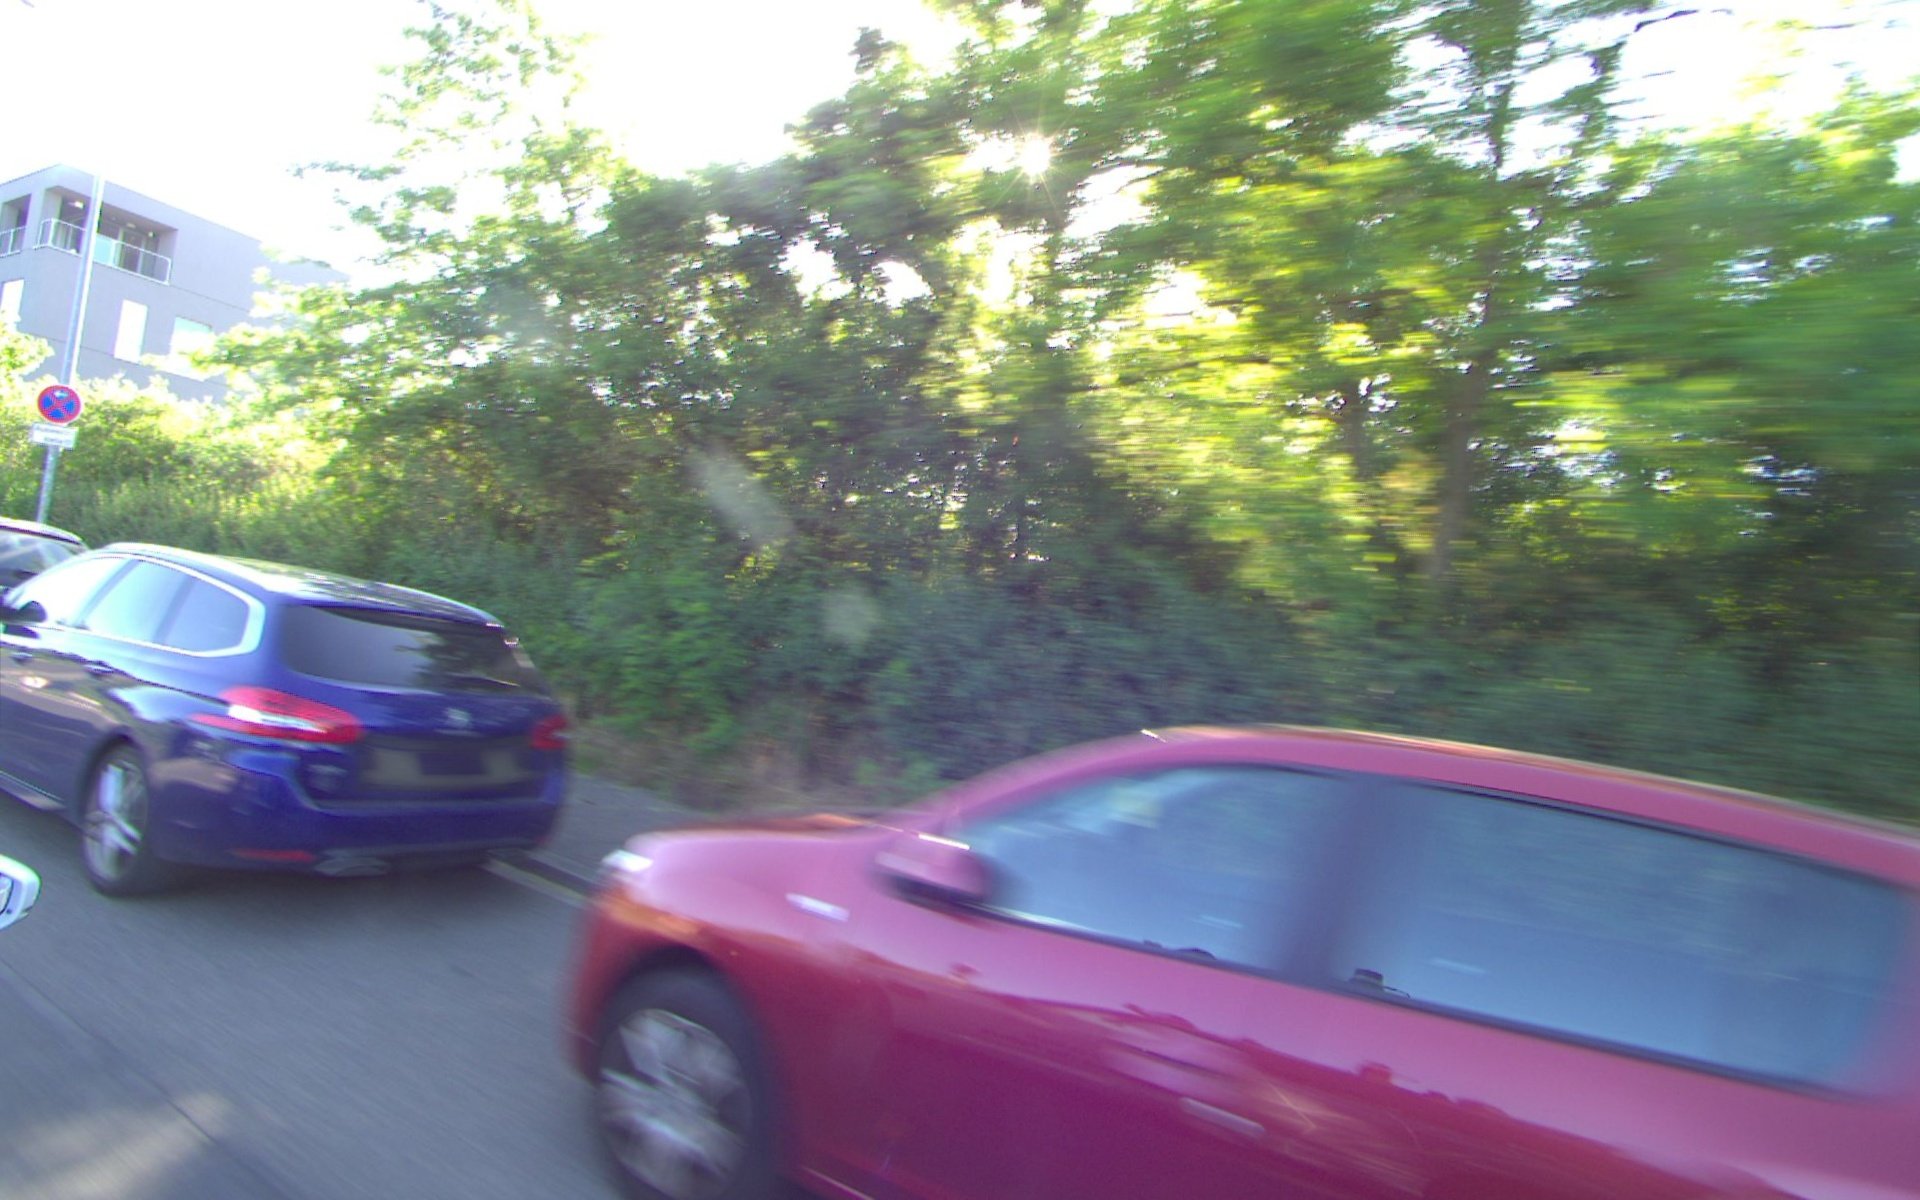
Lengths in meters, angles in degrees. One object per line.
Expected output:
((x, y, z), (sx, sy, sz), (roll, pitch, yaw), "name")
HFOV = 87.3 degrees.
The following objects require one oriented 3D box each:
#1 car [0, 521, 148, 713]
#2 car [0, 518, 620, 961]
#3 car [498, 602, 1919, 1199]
((-9.396, -0.116, 8.932), (4.578, 1.427, 1.760), (7, -5, 31), "car")
((-4.189, 0.478, 5.552), (4.578, 1.459, 1.661), (7, -5, 31), "car")
((0.813, 1.061, 2.630), (3.775, 1.501, 1.661), (7, -5, 31), "car")
